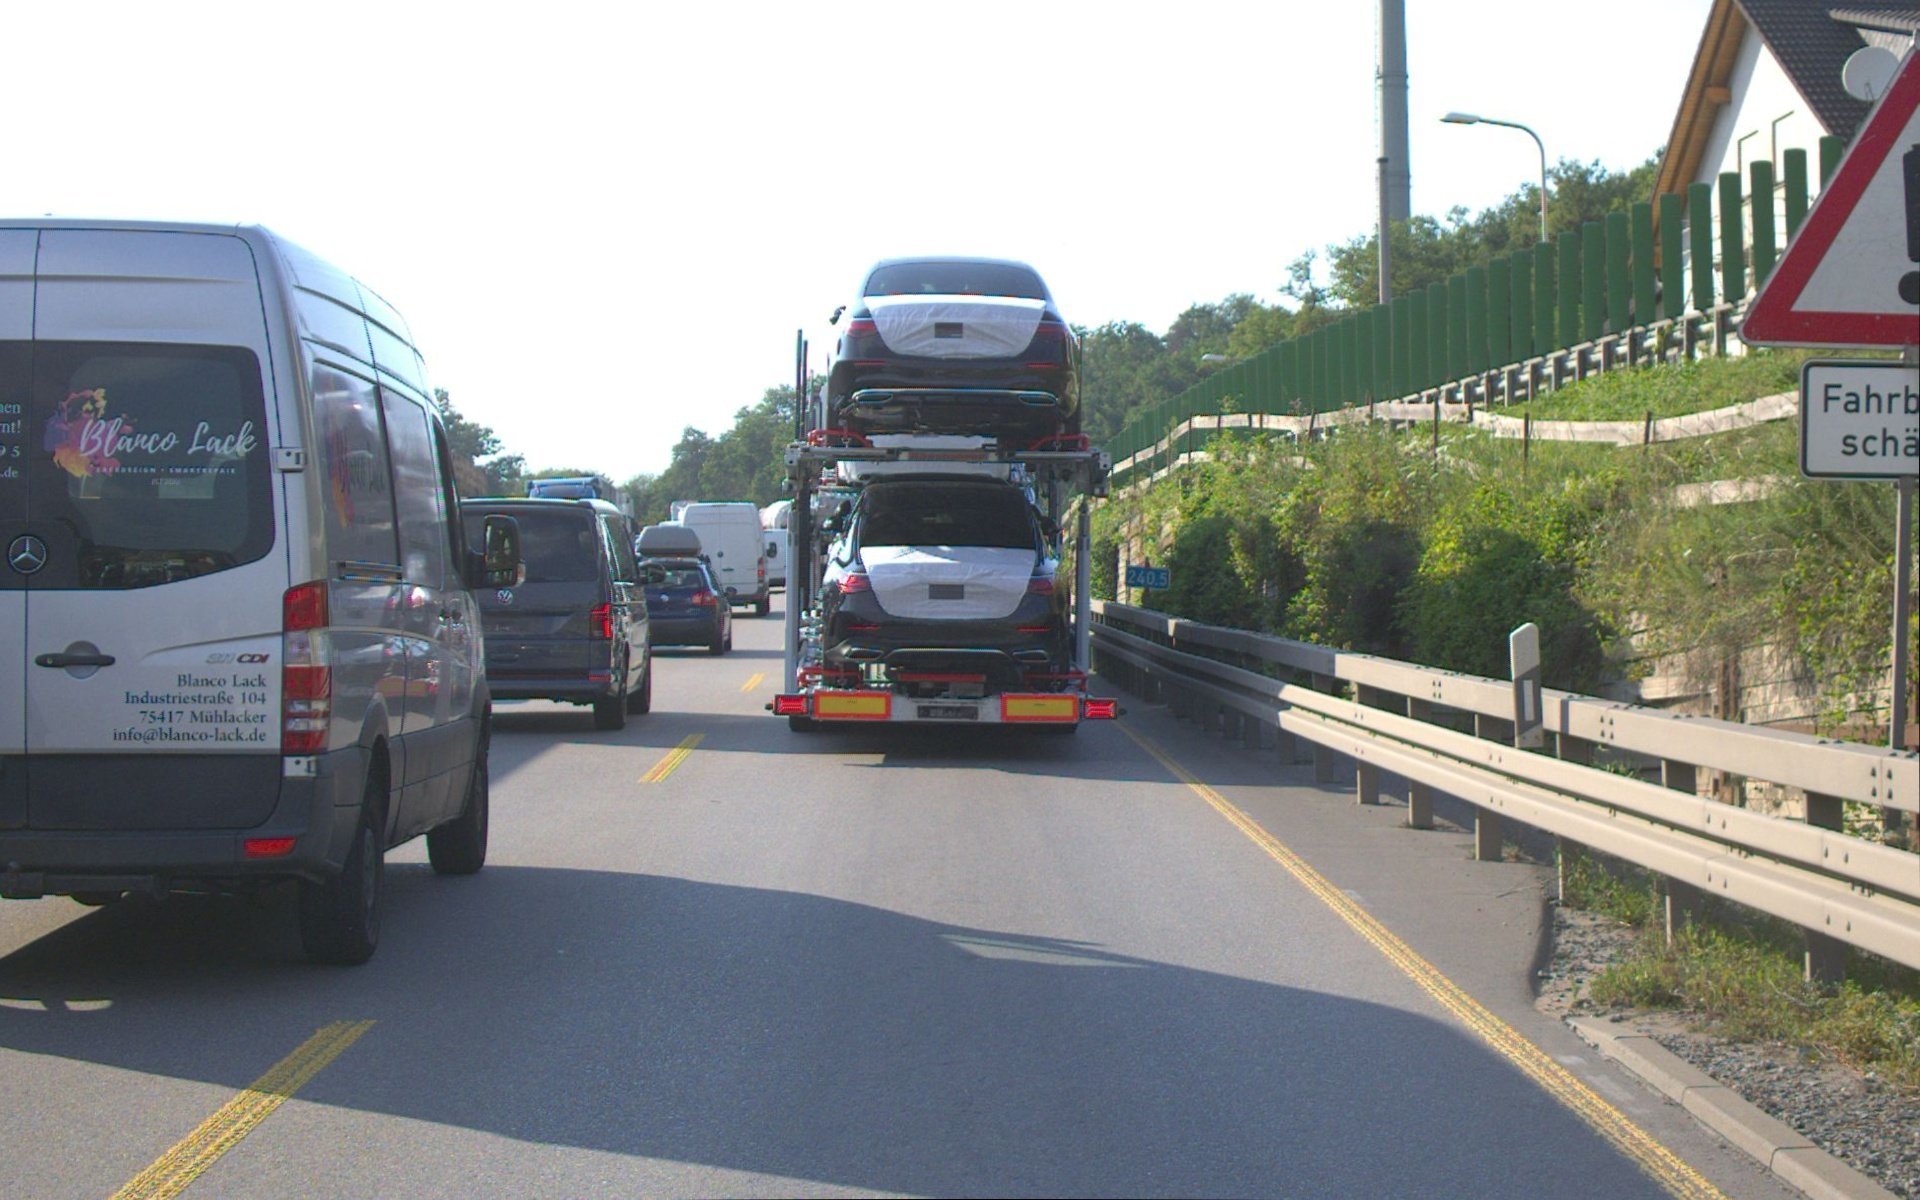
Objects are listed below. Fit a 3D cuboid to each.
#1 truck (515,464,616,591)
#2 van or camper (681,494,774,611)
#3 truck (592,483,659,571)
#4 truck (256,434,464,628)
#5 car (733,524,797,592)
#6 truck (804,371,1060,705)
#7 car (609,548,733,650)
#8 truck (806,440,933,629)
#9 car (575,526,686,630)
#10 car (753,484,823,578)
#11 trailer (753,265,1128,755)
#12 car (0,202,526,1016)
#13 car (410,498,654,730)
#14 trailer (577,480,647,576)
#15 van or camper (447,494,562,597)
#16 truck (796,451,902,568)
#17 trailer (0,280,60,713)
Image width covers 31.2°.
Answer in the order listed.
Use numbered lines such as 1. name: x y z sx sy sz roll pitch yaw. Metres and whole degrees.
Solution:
1. truck: -13.600 -2.500 119.069 2.624 4.098 9.629 -3 1 -3
2. van or camper: -5.334 -1.065 79.467 1.968 2.583 5.042 1 0 -2
3. truck: -16.624 -3.565 171.501 2.982 4.139 15.858 1 1 -4
4. truck: -11.484 -1.251 66.516 2.714 3.413 8.141 -2 0 -2
5. car: -6.153 -1.341 108.910 1.885 2.093 3.766 0 1 -1
6. truck: -0.334 -0.672 40.157 2.682 3.523 7.194 1 0 -1
7. car: -4.488 -0.043 53.776 1.725 1.517 3.974 1 1 -2
8. truck: -2.368 -1.641 87.345 2.907 4.591 7.287 0 1 -4
9. car: -8.162 -0.557 85.526 2.471 2.525 4.000 0 0 -1
10. car: -9.595 -3.799 190.755 3.444 5.018 9.655 1 1 -5
11. trailer: -0.218 -0.672 32.588 2.682 3.523 15.289 1 0 -1
12. car: -3.085 -0.012 13.938 1.993 2.639 5.531 -1 1 -1
13. car: -3.734 0.127 30.562 1.808 1.897 4.000 1 0 -2
14. trailer: -15.386 -3.240 152.598 2.709 4.078 12.571 0 2 -4
15. van or camper: -12.358 -1.489 93.625 2.312 2.653 6.455 -2 1 -1
16. truck: -4.541 -3.696 142.766 4.065 4.663 10.592 0 1 0
17. trailer: -10.716 -1.023 29.007 2.913 4.225 13.770 1 0 -1
